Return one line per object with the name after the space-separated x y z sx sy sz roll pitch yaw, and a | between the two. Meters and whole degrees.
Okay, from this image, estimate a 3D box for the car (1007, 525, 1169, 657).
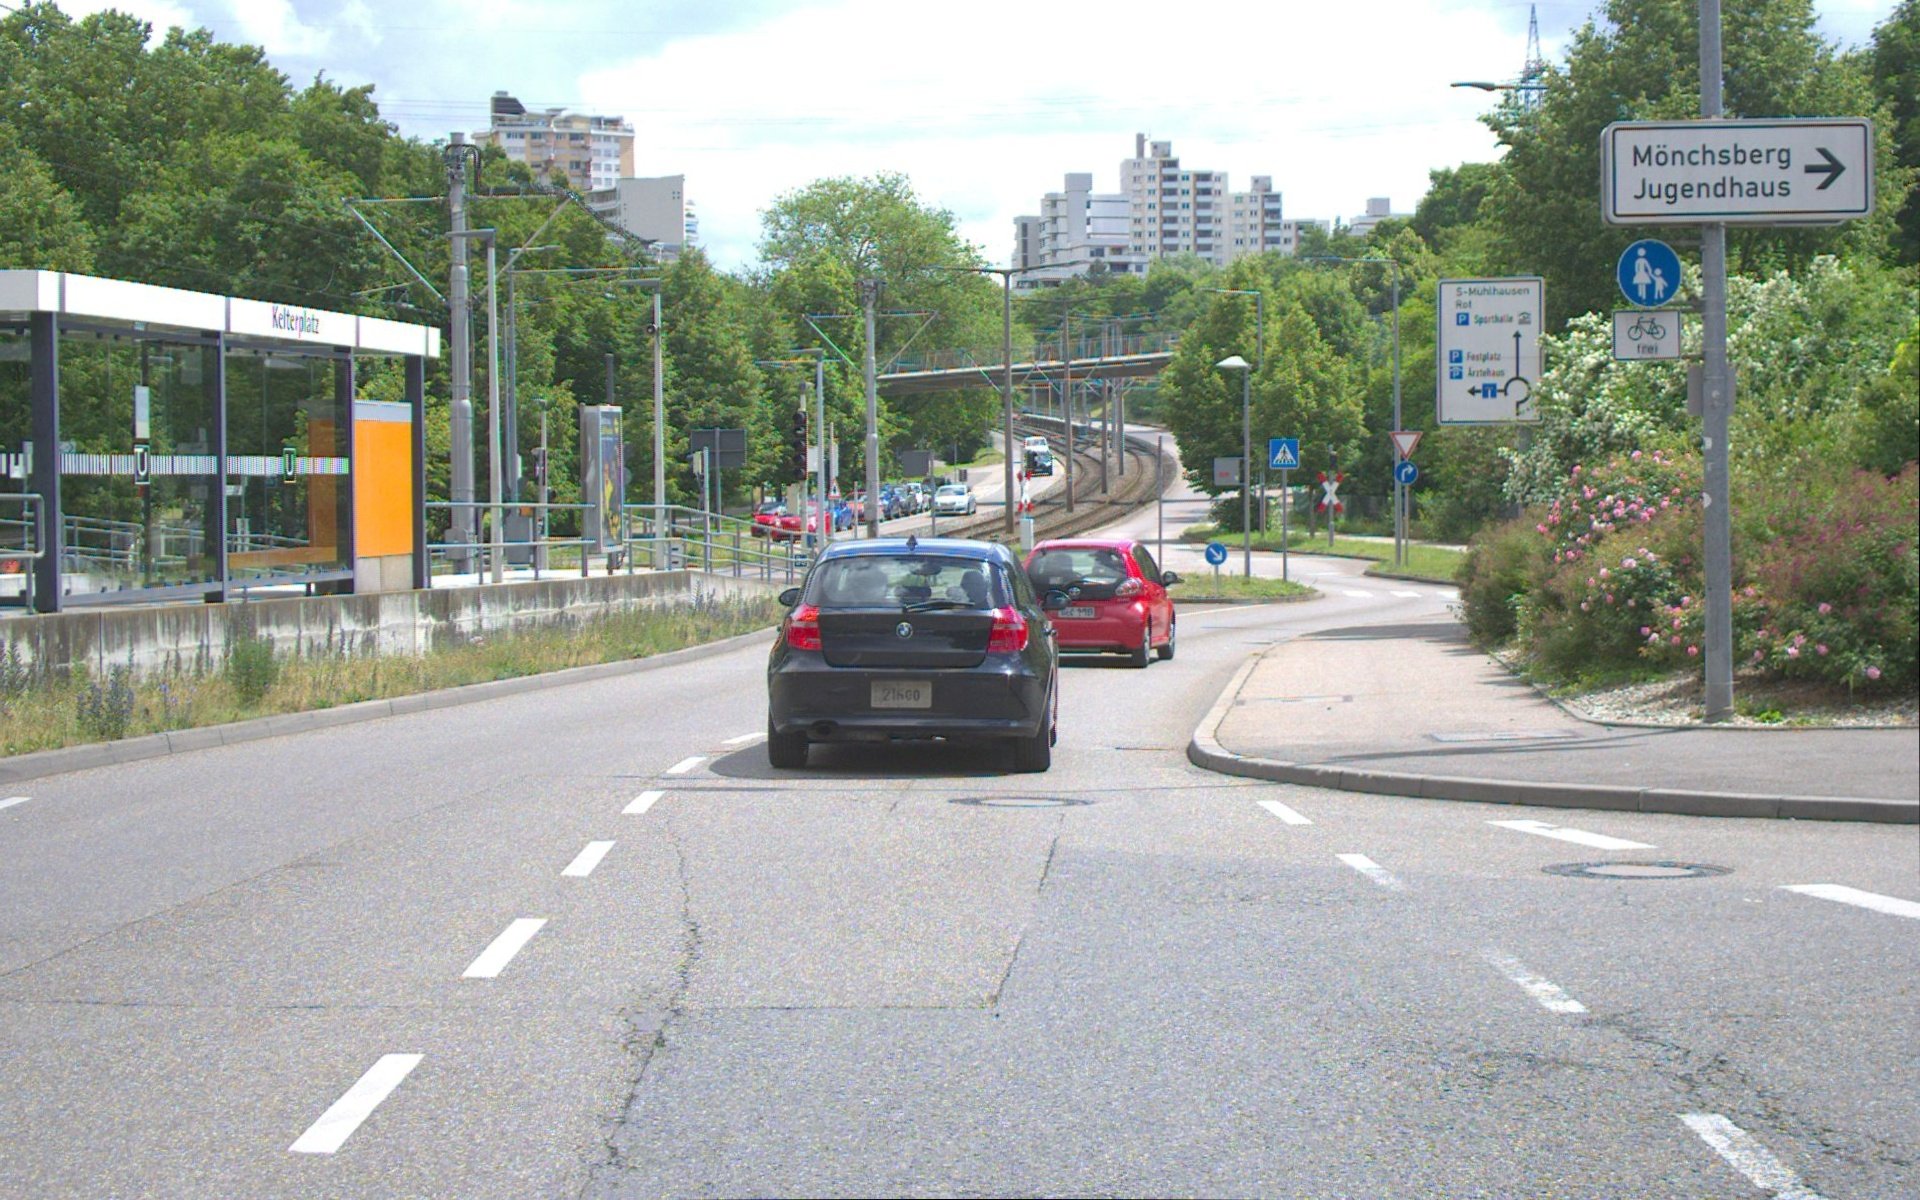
1.462 -0.120 39.875 1.766 1.427 3.479 -1 1 2 | car

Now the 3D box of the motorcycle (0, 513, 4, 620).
-18.861 -0.607 64.321 0.834 2.007 1.980 0 1 21 | motorcycle

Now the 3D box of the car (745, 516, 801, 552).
-7.230 -2.565 133.263 1.528 1.366 3.596 0 2 7 | car

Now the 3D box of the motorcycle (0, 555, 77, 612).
-18.243 -0.333 67.592 0.730 1.077 2.214 0 1 14 | motorcycle

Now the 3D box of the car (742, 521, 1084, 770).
-0.206 0.254 22.051 1.815 1.416 3.999 -1 0 4 | car

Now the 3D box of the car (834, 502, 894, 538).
-4.302 -3.611 154.387 1.913 1.555 3.999 0 2 10 | car

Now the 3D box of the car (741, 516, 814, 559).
-6.623 -2.279 125.233 1.721 1.497 2.964 0 2 17 | car

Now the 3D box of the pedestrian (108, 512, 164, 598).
-19.509 -1.077 81.393 0.961 2.006 0.821 1 3 26 | pedestrian

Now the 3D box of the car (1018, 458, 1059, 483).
5.288 -8.688 231.110 1.994 1.591 4.417 0 2 12 | car
